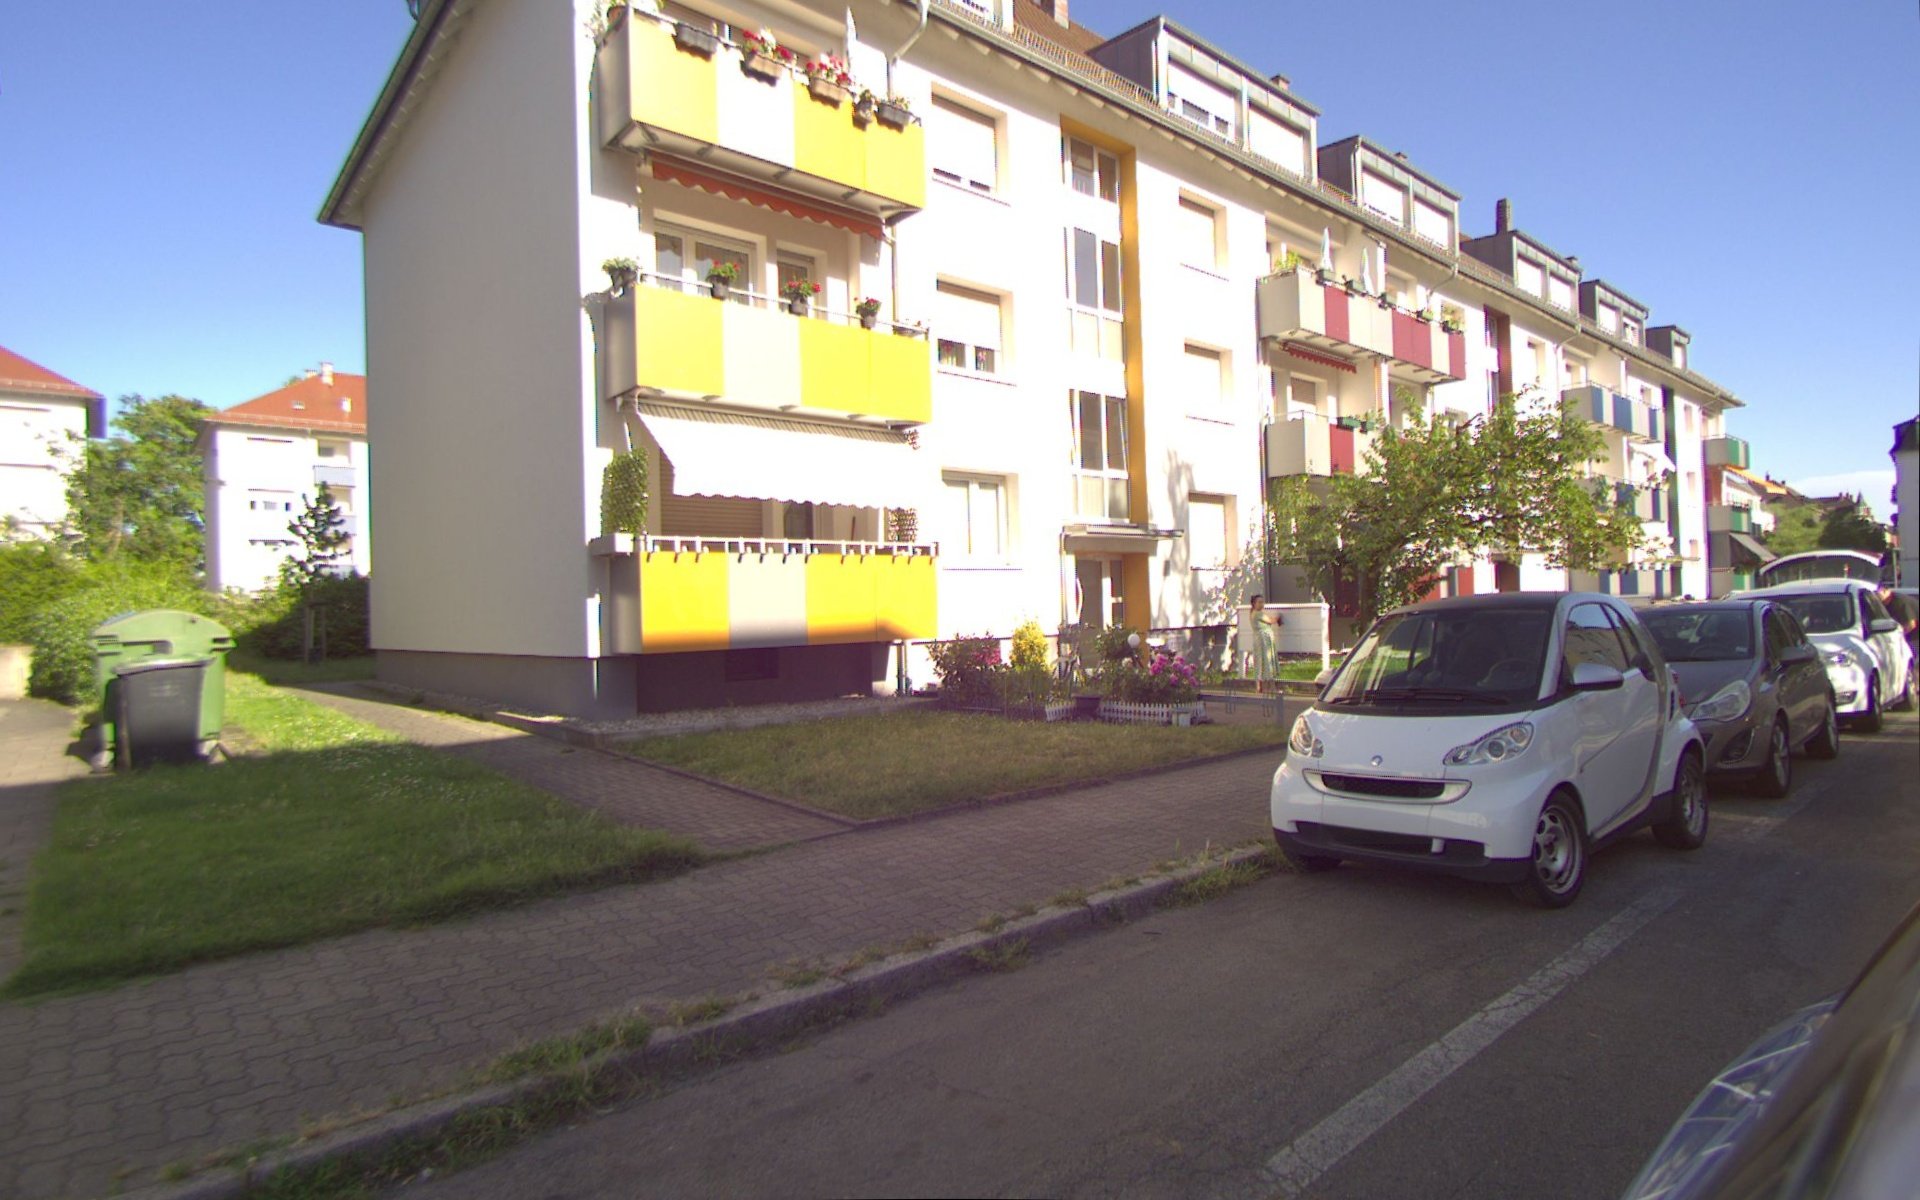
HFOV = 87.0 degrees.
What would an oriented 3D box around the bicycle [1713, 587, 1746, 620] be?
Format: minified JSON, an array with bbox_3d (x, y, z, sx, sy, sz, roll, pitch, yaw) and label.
[{"bbox_3d":[27.851,0.115,36.623,1.841,1.130,0.597,-1,0,-42],"label":"bicycle"}]

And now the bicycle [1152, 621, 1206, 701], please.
[{"bbox_3d":[3.038,0.836,14.061,0.234,1.060,0.742,-1,0,-38],"label":"bicycle"}]

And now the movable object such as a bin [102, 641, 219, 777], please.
[{"bbox_3d":[-7.031,0.929,8.909,0.744,1.047,0.644,-4,2,-40],"label":"movable object such as a bin"}]

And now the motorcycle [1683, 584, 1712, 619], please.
[{"bbox_3d":[27.337,0.060,37.503,1.942,1.254,0.442,-1,0,-41],"label":"motorcycle"}]

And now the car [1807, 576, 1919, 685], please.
[{"bbox_3d":[14.841,0.399,15.900,4.405,1.524,1.773,-1,-1,-43],"label":"car"}]

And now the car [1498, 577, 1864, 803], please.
[{"bbox_3d":[6.334,0.614,8.726,3.916,1.510,1.695,-1,-3,-42],"label":"car"}]

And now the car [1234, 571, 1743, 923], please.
[{"bbox_3d":[3.176,0.663,5.964,2.886,1.549,1.483,-1,-3,-37],"label":"car"}]

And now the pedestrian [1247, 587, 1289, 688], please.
[{"bbox_3d":[4.746,0.567,15.614,0.354,1.513,0.451,-3,1,-40],"label":"pedestrian"}]

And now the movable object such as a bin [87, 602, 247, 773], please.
[{"bbox_3d":[-7.616,0.769,9.726,1.087,1.424,1.330,-4,2,-40],"label":"movable object such as a bin"}]

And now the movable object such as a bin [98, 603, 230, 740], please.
[{"bbox_3d":[-9.488,0.799,12.072,1.123,1.443,1.346,-4,2,-40],"label":"movable object such as a bin"}]

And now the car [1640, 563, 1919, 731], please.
[{"bbox_3d":[10.252,0.462,12.194,4.905,1.634,1.997,-1,-2,-39],"label":"car"}]

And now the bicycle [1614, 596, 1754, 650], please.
[{"bbox_3d":[16.362,0.488,22.945,0.862,1.144,2.432,-1,0,-34],"label":"bicycle"}]

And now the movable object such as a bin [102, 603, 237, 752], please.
[{"bbox_3d":[-8.559,0.779,10.961,1.037,1.429,1.346,-4,2,-40],"label":"movable object such as a bin"}]

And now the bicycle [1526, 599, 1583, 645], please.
[{"bbox_3d":[14.900,0.528,25.347,2.248,1.062,0.521,-1,1,-41],"label":"bicycle"}]

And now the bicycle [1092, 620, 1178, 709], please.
[{"bbox_3d":[2.350,0.832,13.492,1.276,1.100,0.404,-1,0,-40],"label":"bicycle"}]

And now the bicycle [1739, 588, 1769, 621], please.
[{"bbox_3d":[28.277,0.143,36.029,1.841,1.096,0.539,-1,2,-42],"label":"bicycle"}]

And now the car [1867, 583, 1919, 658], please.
[{"bbox_3d":[20.764,0.363,21.402,3.987,1.468,1.650,-2,-2,-39],"label":"car"}]

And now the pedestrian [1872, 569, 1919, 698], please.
[{"bbox_3d":[12.188,0.410,12.891,0.864,1.595,0.740,-1,0,-41],"label":"pedestrian"}]

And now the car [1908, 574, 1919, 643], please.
[{"bbox_3d":[24.249,0.154,24.354,4.278,1.598,1.725,-1,0,-42],"label":"car"}]

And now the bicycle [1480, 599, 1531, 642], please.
[{"bbox_3d":[14.215,0.505,26.357,1.940,1.050,0.521,-1,0,-41],"label":"bicycle"}]

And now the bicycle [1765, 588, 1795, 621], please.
[{"bbox_3d":[28.760,0.143,35.499,1.841,1.134,0.544,-1,1,-42],"label":"bicycle"}]

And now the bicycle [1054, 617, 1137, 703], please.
[{"bbox_3d":[1.930,0.827,14.323,1.250,1.147,0.404,-1,-1,-40],"label":"bicycle"}]

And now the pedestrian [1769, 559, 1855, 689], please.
[{"bbox_3d":[11.656,0.308,13.850,0.594,1.708,0.821,0,0,-41],"label":"pedestrian"}]
